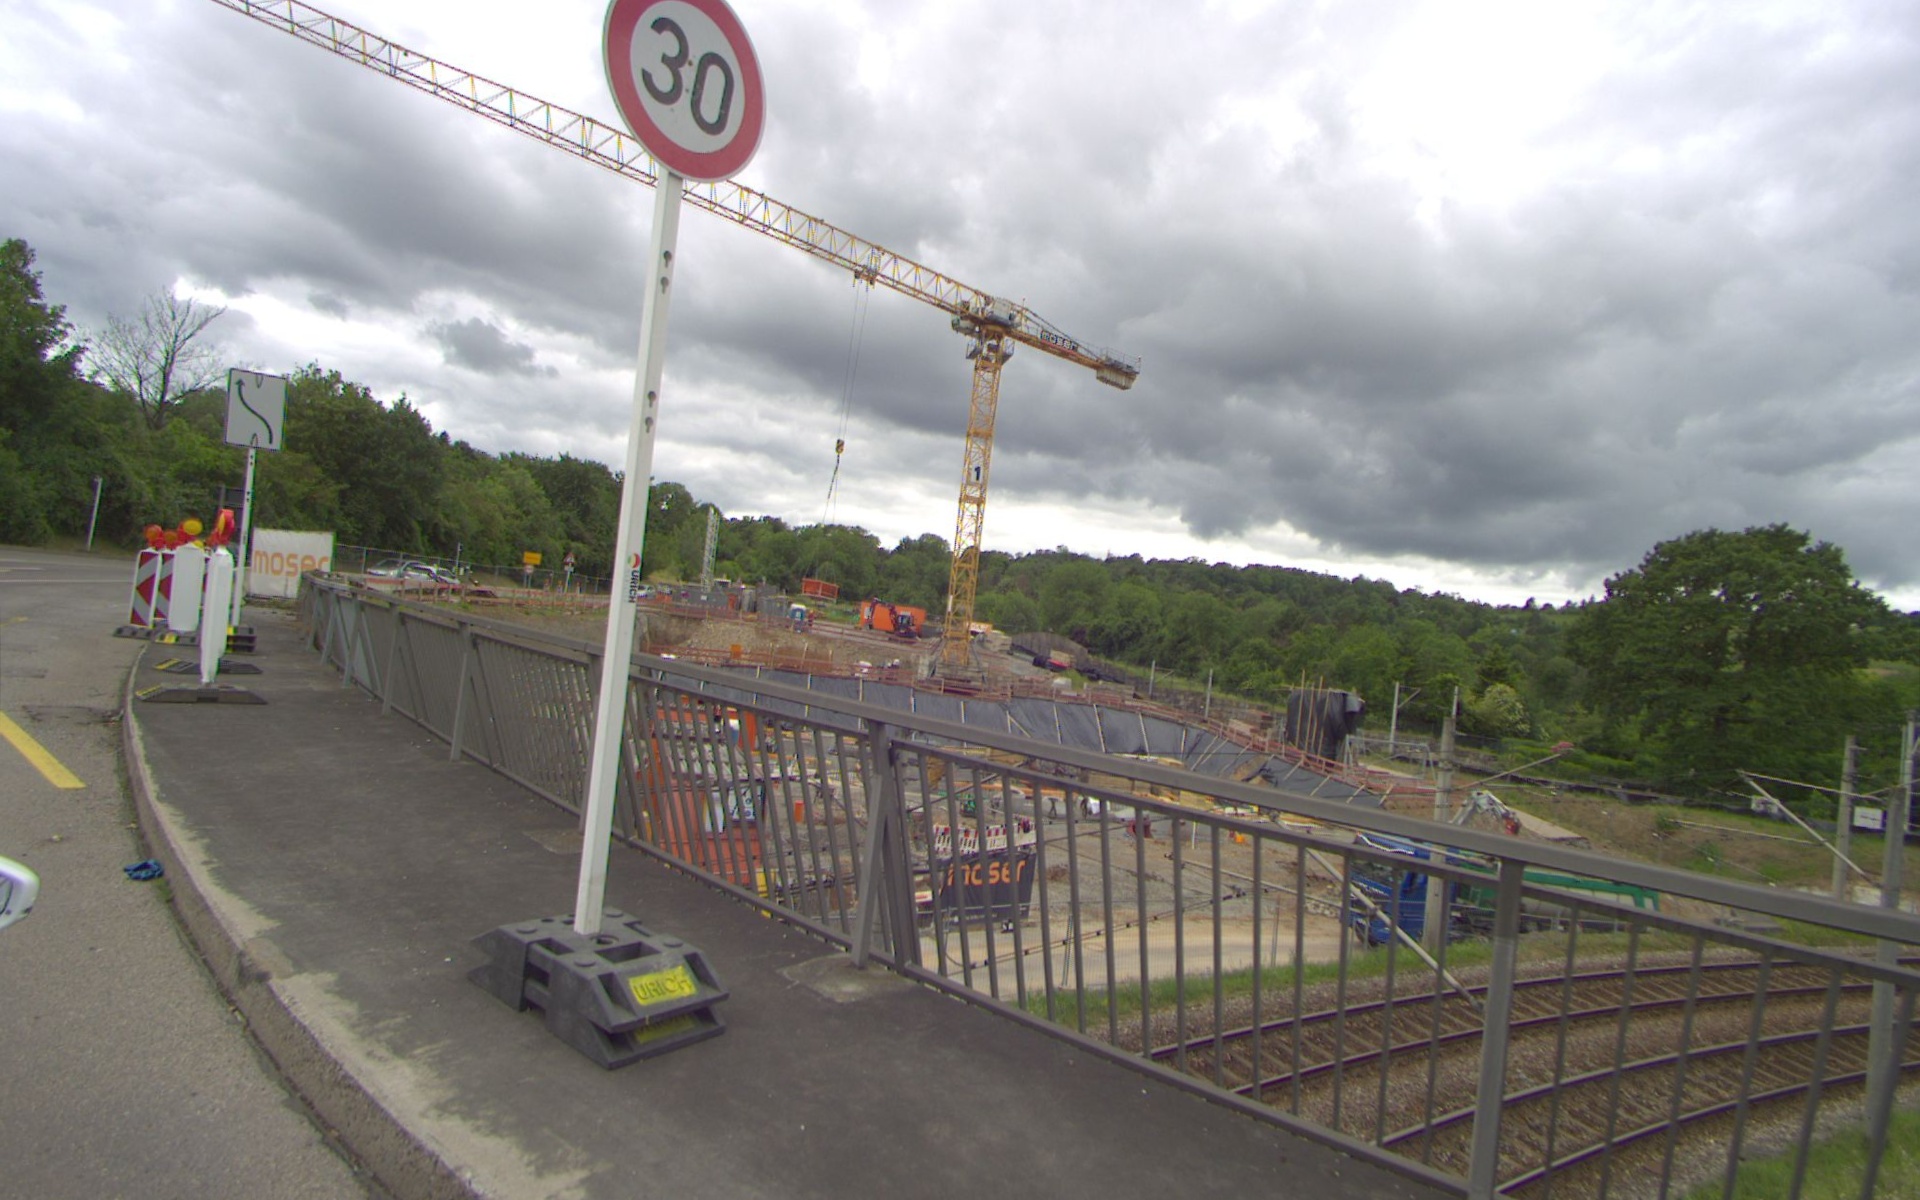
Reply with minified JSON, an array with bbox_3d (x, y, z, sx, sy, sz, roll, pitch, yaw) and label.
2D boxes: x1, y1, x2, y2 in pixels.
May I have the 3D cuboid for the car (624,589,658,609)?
[{"bbox_3d":[-32.376,-0.041,102.161,1.631,1.569,4.191,10,-2,5],"label":"car"}]

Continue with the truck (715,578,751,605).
[{"bbox_3d":[-32.434,-1.137,144.064,2.776,3.377,8.381,7,0,1],"label":"truck"}]

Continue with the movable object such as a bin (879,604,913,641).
[{"bbox_3d":[-5.980,2.149,94.389,2.749,3.113,1.842,6,-1,-1],"label":"movable object such as a bin"}]

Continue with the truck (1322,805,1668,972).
[{"bbox_3d":[17.450,9.381,32.542,11.471,3.935,2.834,10,-3,-22],"label":"truck"}]

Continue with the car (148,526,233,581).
[{"bbox_3d":[-27.503,-1.671,36.070,1.807,1.570,3.759,9,-2,-30],"label":"car"}]

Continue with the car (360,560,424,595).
[{"bbox_3d":[-32.543,-1.268,57.756,1.611,1.561,4.348,9,-3,-9],"label":"car"}]

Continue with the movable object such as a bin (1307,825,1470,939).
[{"bbox_3d":[15.561,10.239,36.780,4.213,2.779,3.047,10,-2,-4],"label":"movable object such as a bin"}]

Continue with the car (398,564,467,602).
[{"bbox_3d":[-29.048,-0.883,55.523,1.686,1.694,4.001,6,-2,-3],"label":"car"}]

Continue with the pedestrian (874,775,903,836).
[{"bbox_3d":[-2.589,7.448,36.520,0.694,2.034,0.801,6,-4,-20],"label":"pedestrian"}]

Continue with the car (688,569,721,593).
[{"bbox_3d":[-26.022,-1.922,102.654,1.962,2.037,4.004,6,-2,3],"label":"car"}]
